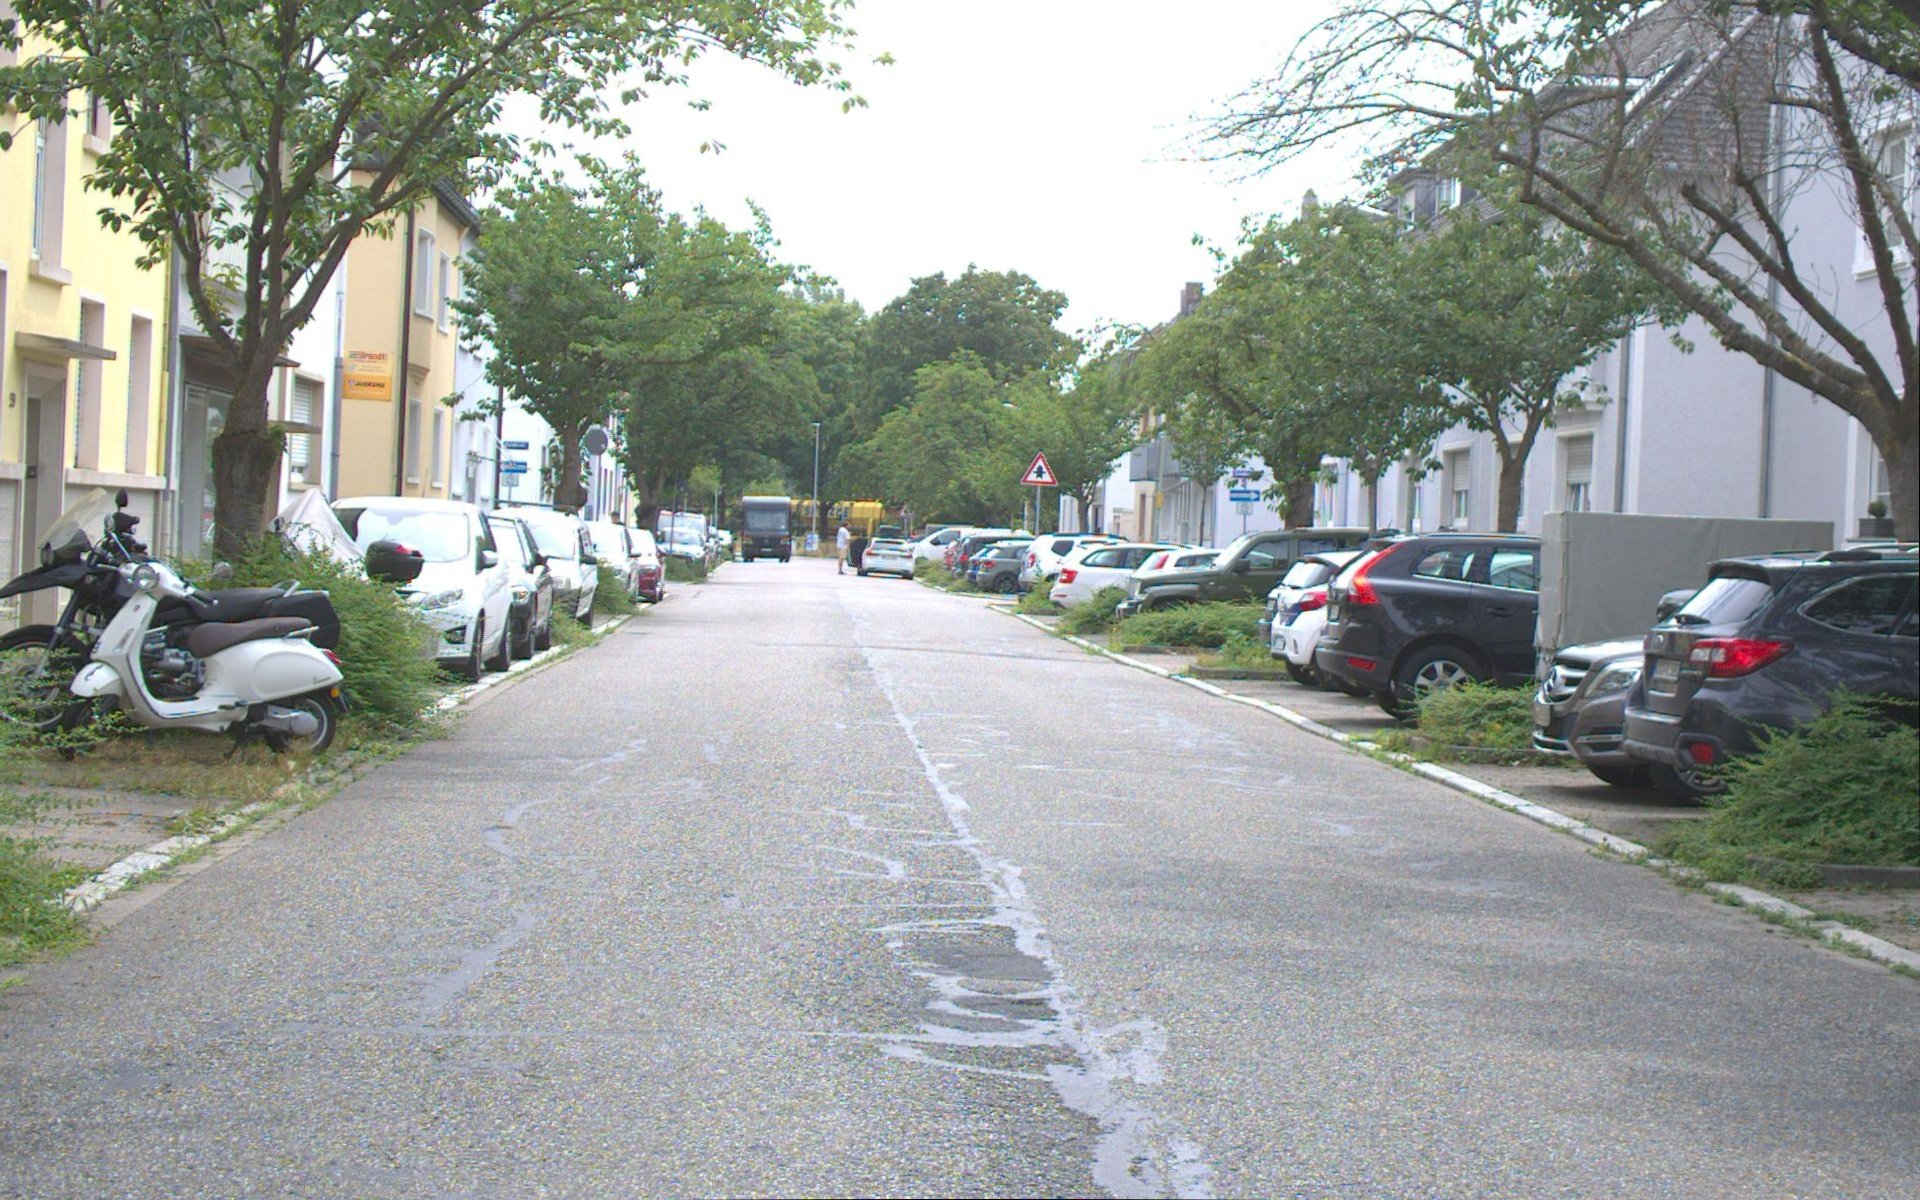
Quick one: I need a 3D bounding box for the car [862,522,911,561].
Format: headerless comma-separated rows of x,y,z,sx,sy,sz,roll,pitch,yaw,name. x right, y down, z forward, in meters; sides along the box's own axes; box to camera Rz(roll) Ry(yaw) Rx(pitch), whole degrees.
-2.617,-2.067,122.417,1.687,1.349,3.827,0,1,-1,car

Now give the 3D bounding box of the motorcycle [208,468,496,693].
-4.849,-0.174,27.297,2.472,1.670,0.936,3,1,44,motorcycle

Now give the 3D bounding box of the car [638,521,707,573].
-8.778,-1.613,105.170,1.763,1.549,3.731,0,1,1,car

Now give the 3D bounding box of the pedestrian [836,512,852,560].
-4.101,-2.267,121.891,0.522,1.698,0.444,0,1,1,pedestrian

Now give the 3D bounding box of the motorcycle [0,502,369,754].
-4.772,0.158,20.932,2.231,1.476,0.597,0,1,-29,motorcycle

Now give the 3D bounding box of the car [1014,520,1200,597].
3.183,-0.915,75.032,3.923,1.627,1.868,0,1,-1,car

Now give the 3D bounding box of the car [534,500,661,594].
-6.411,-0.943,61.251,1.771,1.387,4.275,8,1,-2,car

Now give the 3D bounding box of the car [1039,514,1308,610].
3.766,-0.678,61.189,4.614,1.658,1.893,0,1,-1,car

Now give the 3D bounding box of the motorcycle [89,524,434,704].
-5.194,0.098,25.653,2.448,1.307,0.643,0,1,-2,motorcycle

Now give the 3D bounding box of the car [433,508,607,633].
-5.824,-0.406,45.941,1.918,1.576,4.383,0,1,-2,car

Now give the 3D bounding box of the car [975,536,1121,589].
2.299,-0.990,90.675,3.747,1.361,1.773,0,1,-1,car

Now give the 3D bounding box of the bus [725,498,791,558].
-9.543,-3.385,162.265,3.003,2.752,8.925,0,1,-3,bus

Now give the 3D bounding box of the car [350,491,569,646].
-5.379,-0.339,37.478,1.790,1.487,4.812,3,0,-2,car

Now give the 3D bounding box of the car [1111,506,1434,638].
4.497,-0.417,49.984,4.525,1.851,1.793,0,1,0,car

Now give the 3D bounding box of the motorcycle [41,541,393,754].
-4.301,0.261,19.948,1.905,1.187,0.597,0,1,-29,motorcycle

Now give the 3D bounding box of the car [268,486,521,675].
-5.075,-0.199,31.326,1.757,1.551,4.256,2,1,-3,car

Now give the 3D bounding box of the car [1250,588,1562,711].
5.476,0.598,42.465,3.542,1.448,1.809,0,1,-3,car

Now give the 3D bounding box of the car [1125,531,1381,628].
4.467,-0.319,52.749,3.624,1.449,1.773,0,1,-6,car

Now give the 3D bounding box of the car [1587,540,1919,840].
5.853,0.475,19.325,4.214,1.592,1.904,0,1,-4,car

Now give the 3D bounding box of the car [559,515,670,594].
-6.659,-0.885,66.624,1.877,1.481,4.513,0,1,-3,car

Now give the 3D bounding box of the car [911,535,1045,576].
0.682,-1.698,130.901,4.974,1.513,1.769,0,1,-4,car

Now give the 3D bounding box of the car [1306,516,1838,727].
5.183,0.164,29.541,4.214,1.730,1.904,0,1,0,car

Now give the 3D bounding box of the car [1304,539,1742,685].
5.575,0.105,34.309,3.986,1.405,1.768,0,1,-5,car

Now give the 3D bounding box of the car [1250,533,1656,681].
5.234,0.066,36.804,3.986,1.525,1.768,0,1,-5,car

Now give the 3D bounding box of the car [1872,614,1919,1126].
4.756,0.792,9.440,3.986,1.450,1.767,0,1,-3,car

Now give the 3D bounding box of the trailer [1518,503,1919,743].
6.001,0.167,27.182,2.961,1.825,1.401,0,1,1,trailer

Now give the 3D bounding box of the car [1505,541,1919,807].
5.740,0.439,21.657,4.214,1.592,1.904,0,1,-5,car
